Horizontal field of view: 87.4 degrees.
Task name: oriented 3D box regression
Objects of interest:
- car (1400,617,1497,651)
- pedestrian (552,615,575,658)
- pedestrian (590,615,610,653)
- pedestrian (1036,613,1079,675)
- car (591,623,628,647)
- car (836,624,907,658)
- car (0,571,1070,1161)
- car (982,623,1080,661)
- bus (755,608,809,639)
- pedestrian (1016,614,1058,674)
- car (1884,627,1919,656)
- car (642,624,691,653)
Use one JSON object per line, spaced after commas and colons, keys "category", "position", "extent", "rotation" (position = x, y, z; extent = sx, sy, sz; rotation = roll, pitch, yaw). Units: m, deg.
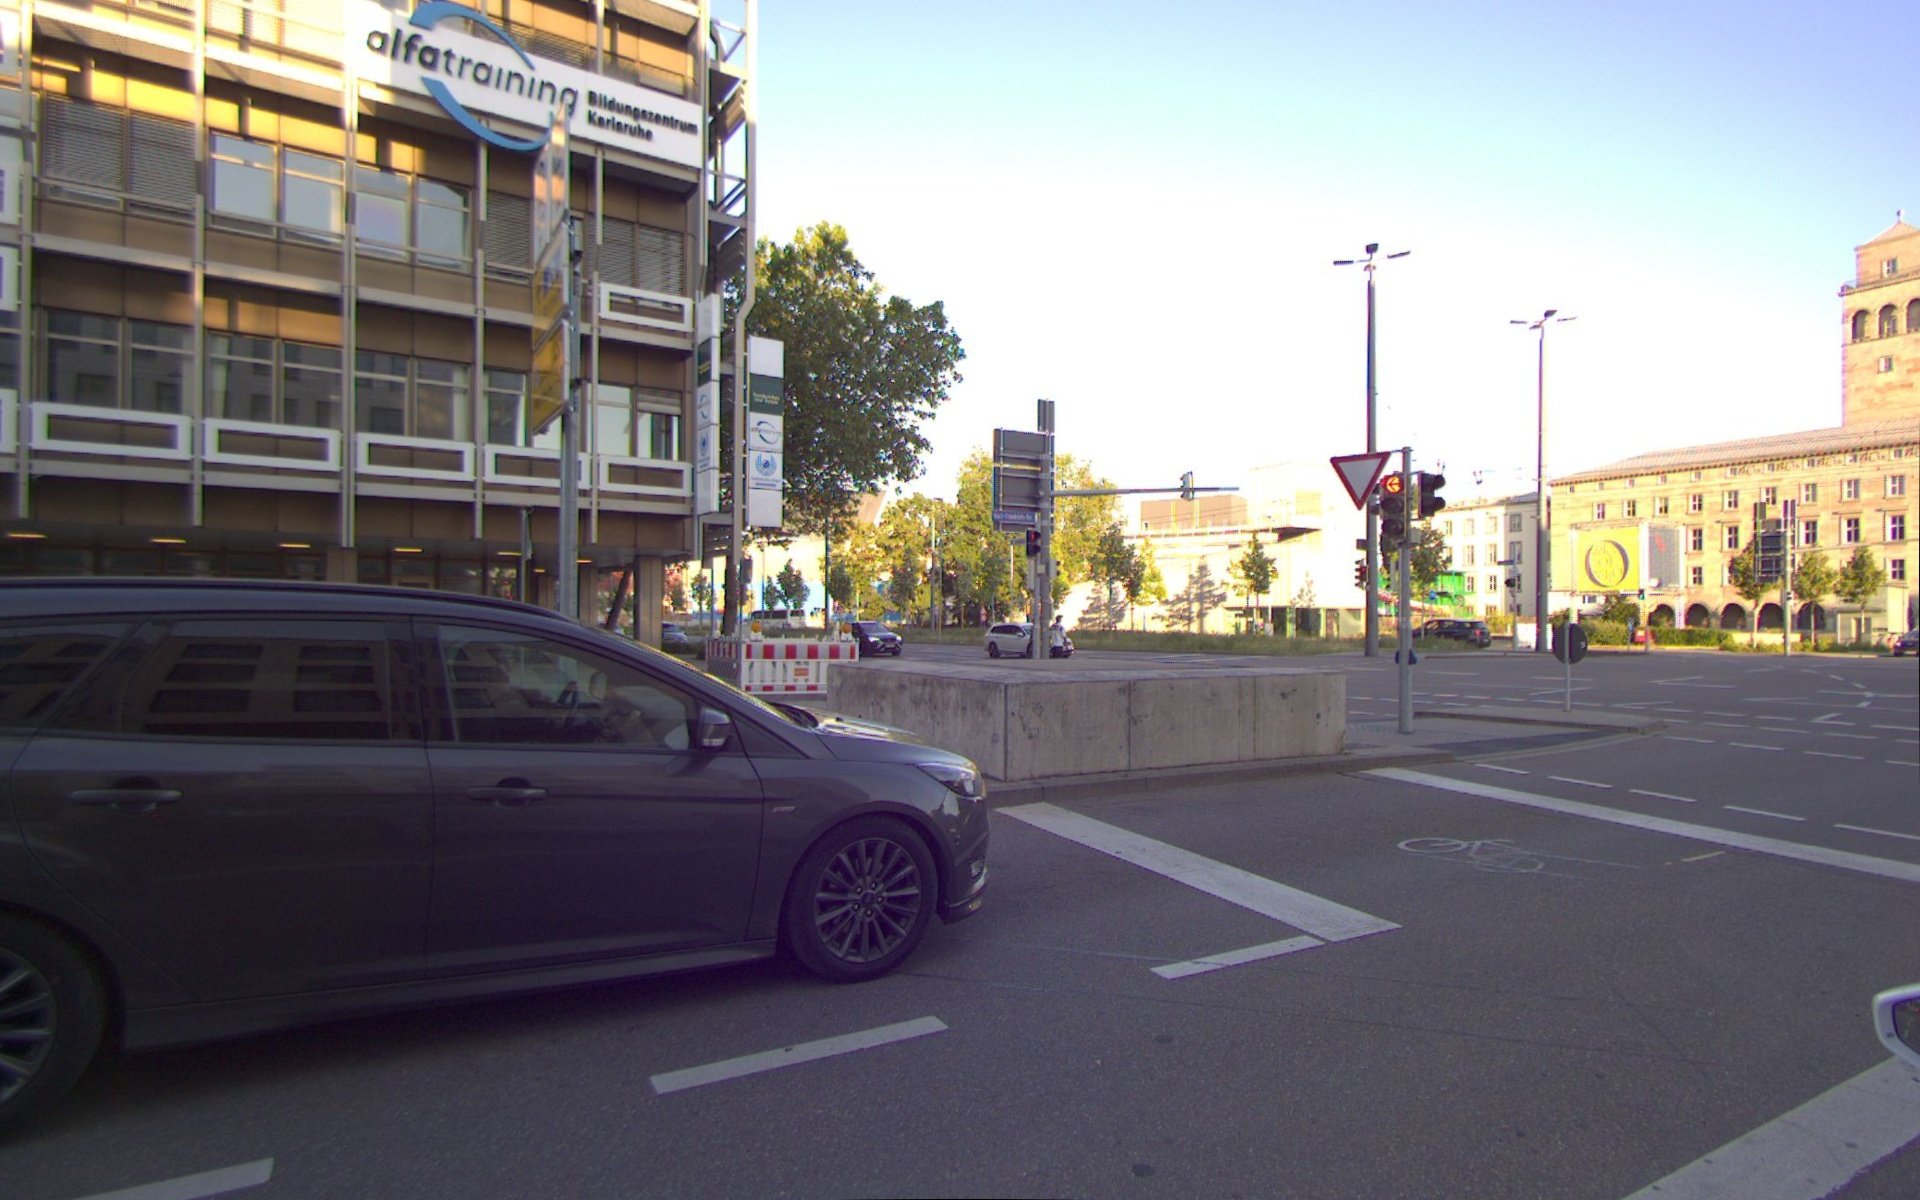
{"category": "car", "position": [24.690, 1.686, 50.899], "extent": [1.728, 1.626, 4.091], "rotation": [1, -1, -37]}
{"category": "pedestrian", "position": [-17.265, 1.586, 43.739], "extent": [0.749, 1.830, 0.715], "rotation": [2, 0, -35]}
{"category": "pedestrian", "position": [-15.796, 1.498, 44.069], "extent": [0.660, 1.606, 0.715], "rotation": [2, 0, -34]}
{"category": "pedestrian", "position": [2.796, 1.249, 28.857], "extent": [0.949, 1.744, 0.816], "rotation": [1, -1, -34]}
{"category": "car", "position": [-24.388, 2.431, 69.856], "extent": [1.722, 1.605, 3.764], "rotation": [0, -1, -31]}
{"category": "car", "position": [-4.195, 1.896, 46.896], "extent": [1.829, 1.476, 3.921], "rotation": [0, -1, -30]}
{"category": "car", "position": [-1.831, 0.671, 3.891], "extent": [4.330, 1.482, 1.748], "rotation": [1, 1, -31]}
{"category": "car", "position": [2.889, 1.714, 41.940], "extent": [1.829, 1.476, 4.555], "rotation": [0, -1, -30]}
{"category": "bus", "position": [-23.169, 3.058, 130.182], "extent": [2.959, 3.818, 10.341], "rotation": [1, -1, -34]}
{"category": "pedestrian", "position": [2.257, 1.281, 29.603], "extent": [0.949, 1.744, 0.816], "rotation": [1, -1, -34]}
{"category": "car", "position": [51.318, 2.195, 53.676], "extent": [4.111, 1.485, 1.813], "rotation": [0, -1, -32]}
{"category": "car", "position": [-17.238, 2.248, 58.906], "extent": [1.722, 1.605, 4.554], "rotation": [0, -1, -30]}
